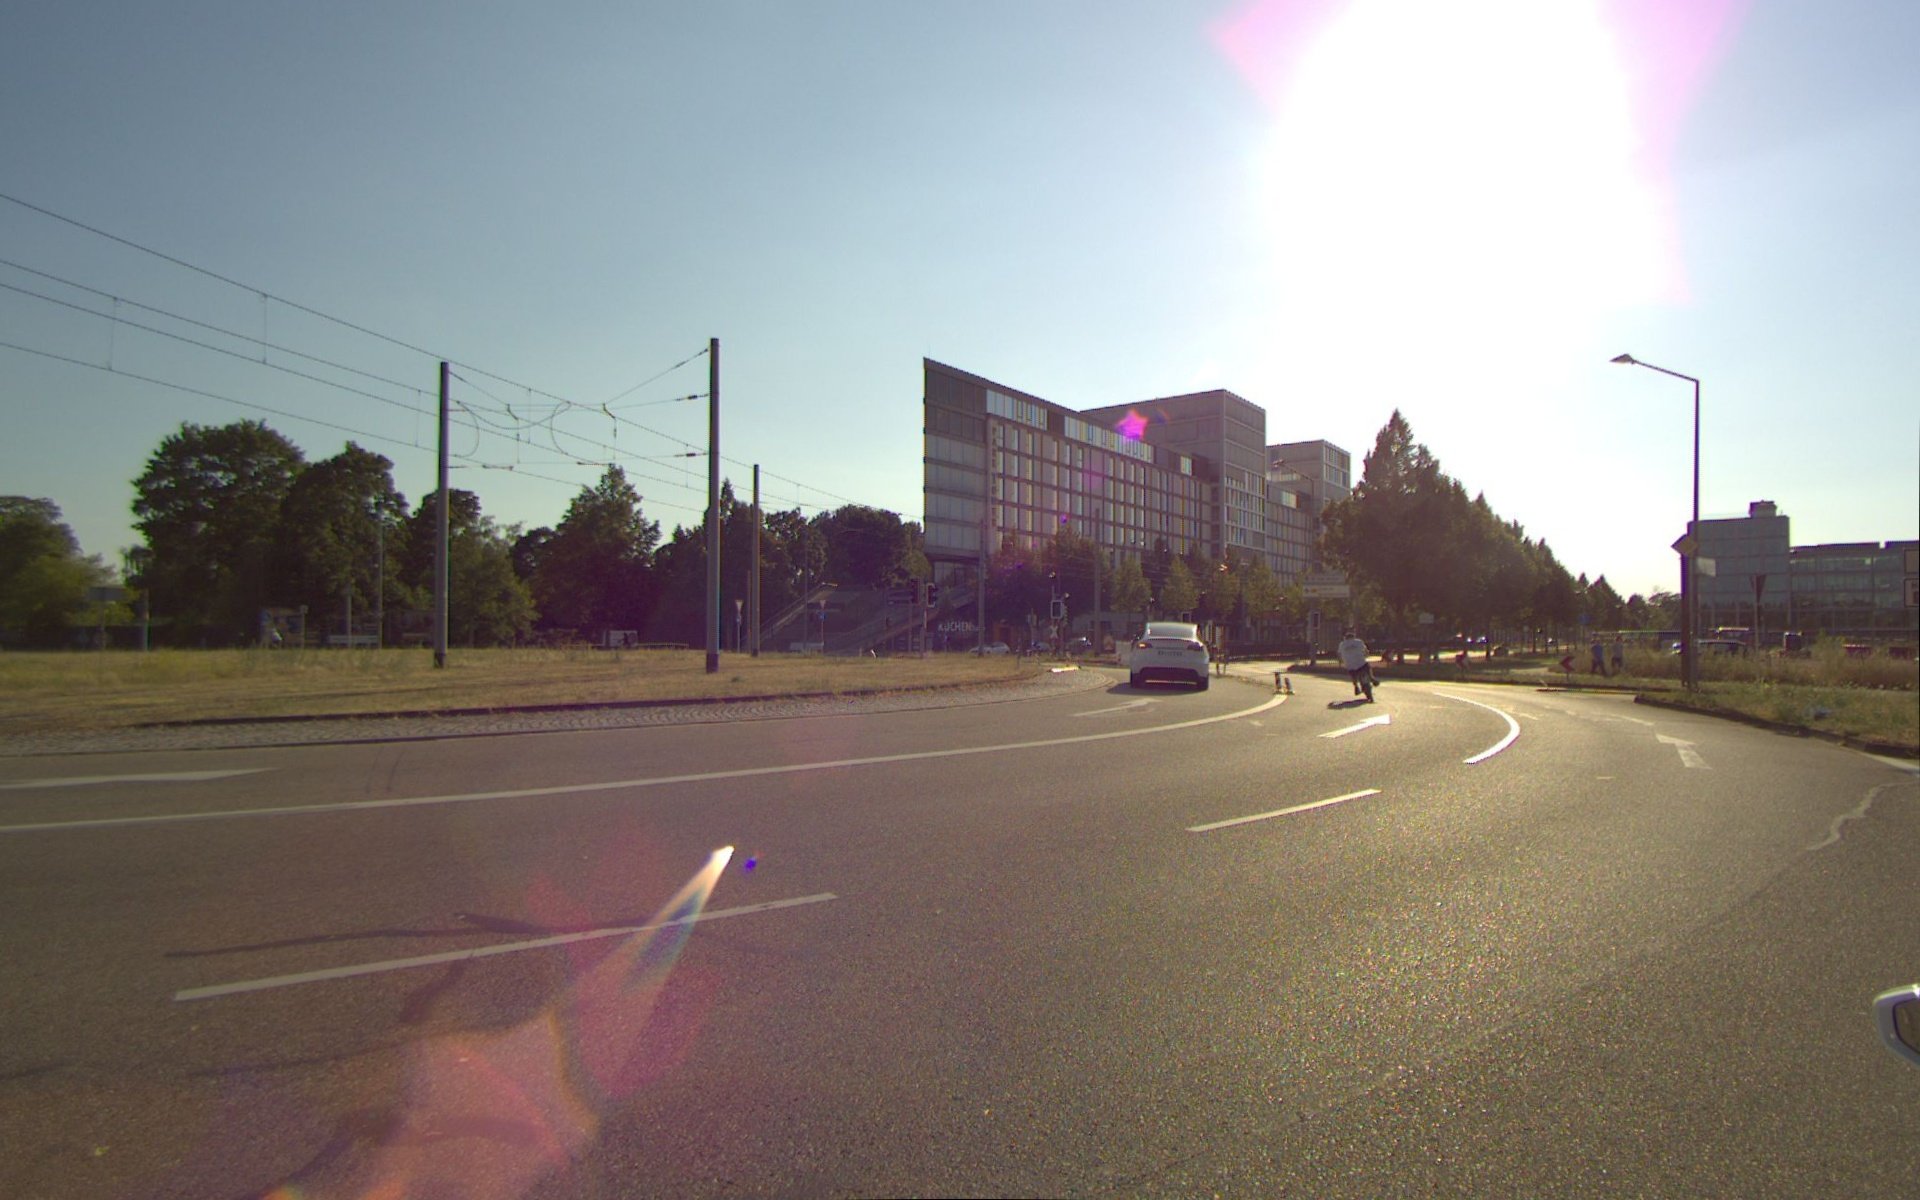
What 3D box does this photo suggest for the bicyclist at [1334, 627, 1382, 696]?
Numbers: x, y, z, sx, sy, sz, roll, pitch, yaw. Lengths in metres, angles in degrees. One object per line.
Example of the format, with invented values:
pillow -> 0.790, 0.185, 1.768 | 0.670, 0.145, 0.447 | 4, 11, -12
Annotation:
bicyclist -> 8.643, 1.321, 21.813 | 0.856, 1.428, 0.627 | 0, -1, 33

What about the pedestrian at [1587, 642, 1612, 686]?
pedestrian -> 25.712, 2.556, 40.398 | 0.774, 1.731, 0.809 | -1, -2, 38

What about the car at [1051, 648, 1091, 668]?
car -> 9.388, 4.881, 84.535 | 3.314, 1.594, 1.544 | 2, -3, -42

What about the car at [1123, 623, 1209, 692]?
car -> 5.279, 1.407, 25.564 | 1.959, 1.595, 4.003 | 0, -2, 13

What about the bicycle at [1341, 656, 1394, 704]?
bicycle -> 8.817, 1.706, 21.695 | 0.836, 0.941, 1.716 | 0, -2, 30

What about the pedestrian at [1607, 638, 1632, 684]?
pedestrian -> 26.716, 2.459, 40.676 | 0.748, 1.799, 0.768 | -1, -2, 40

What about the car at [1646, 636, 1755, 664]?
car -> 37.799, 2.545, 51.399 | 4.166, 1.381, 1.998 | -1, -2, 27

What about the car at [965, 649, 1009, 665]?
car -> 2.189, 4.557, 81.106 | 1.636, 1.256, 3.483 | -2, -3, 44
